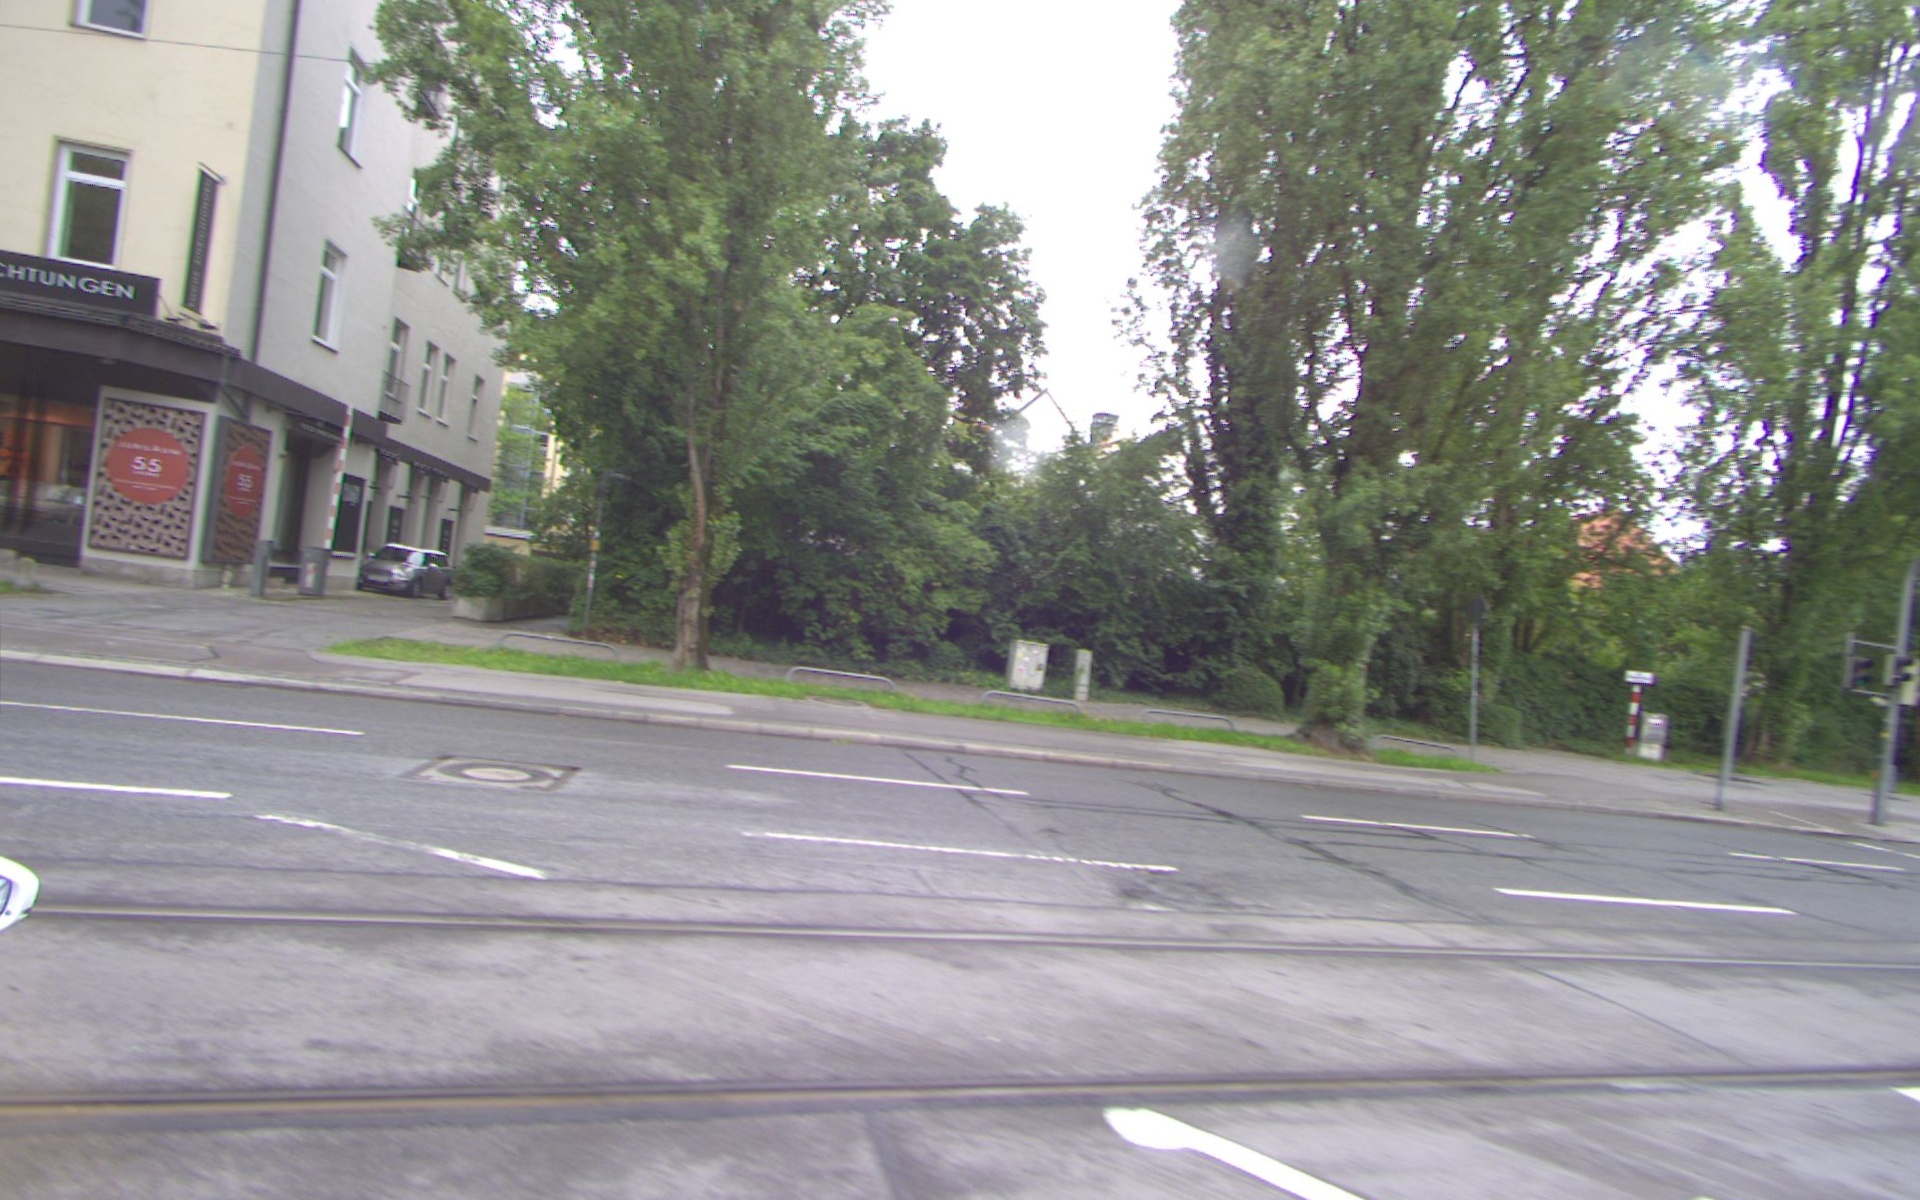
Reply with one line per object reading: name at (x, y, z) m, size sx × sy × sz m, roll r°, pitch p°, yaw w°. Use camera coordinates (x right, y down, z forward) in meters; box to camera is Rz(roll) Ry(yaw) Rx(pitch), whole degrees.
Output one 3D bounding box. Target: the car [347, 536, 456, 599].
car at (-16.032, -0.911, 29.094) m, size 1.705 × 1.459 × 3.987 m, roll 8°, pitch -1°, yaw -15°
